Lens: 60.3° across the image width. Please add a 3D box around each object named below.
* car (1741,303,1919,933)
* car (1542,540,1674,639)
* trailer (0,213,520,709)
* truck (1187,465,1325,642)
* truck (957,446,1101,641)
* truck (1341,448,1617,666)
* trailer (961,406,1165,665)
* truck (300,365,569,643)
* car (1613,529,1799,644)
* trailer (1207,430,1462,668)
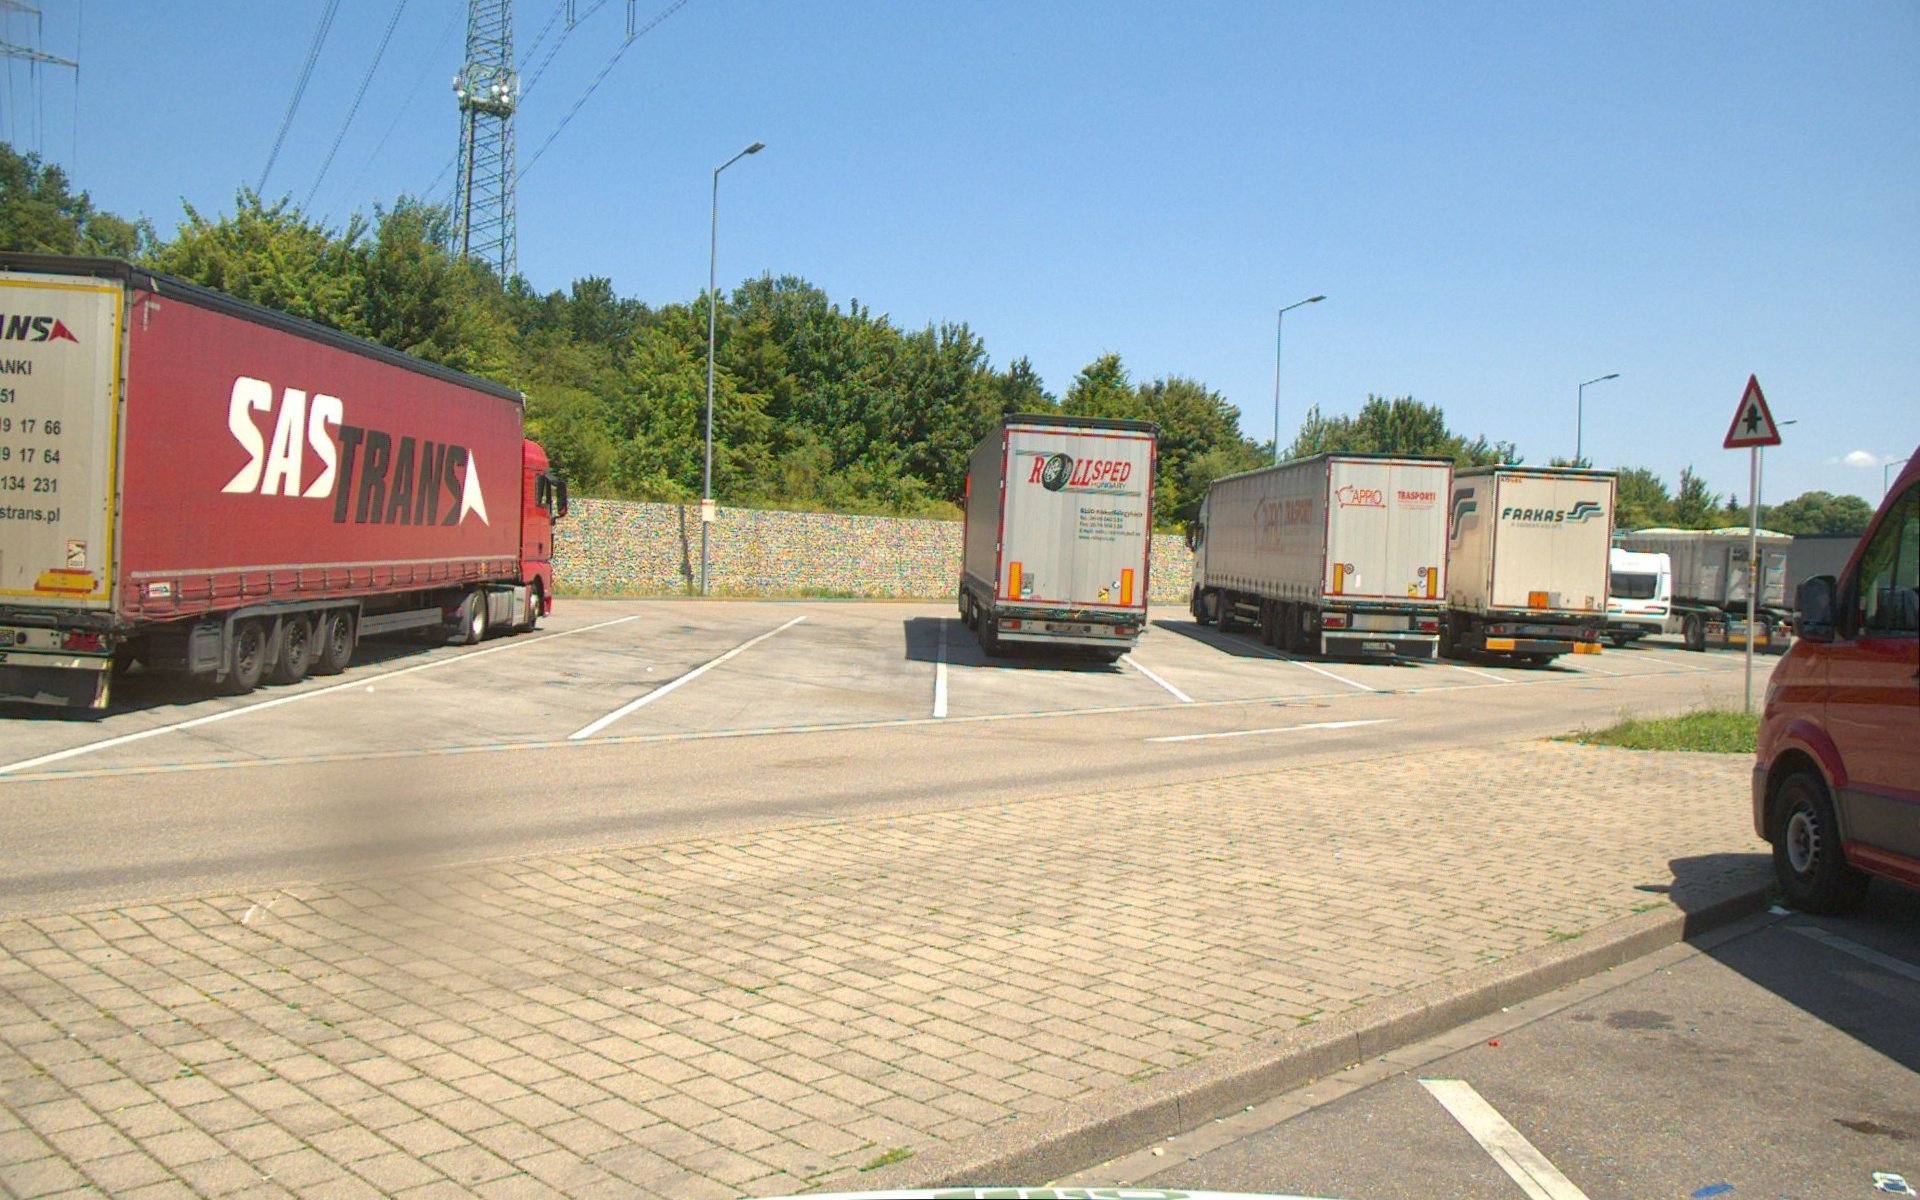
[{"bbox_3d":[4.993,0.109,5.567,1.952,2.679,6.385,1,1,3],"label":"car"},{"bbox_3d":[18.234,-0.270,46.732,2.072,2.645,3.999,1,0,-1],"label":"car"},{"bbox_3d":[-8.640,-1.339,20.981,2.743,4.293,13.200,1,1,-1],"label":"trailer"},{"bbox_3d":[8.018,-1.253,45.553,2.607,4.530,5.863,1,1,-1],"label":"truck"},{"bbox_3d":[1.445,-1.241,37.721,2.813,4.050,6.028,1,1,-2],"label":"truck"},{"bbox_3d":[11.715,-0.835,38.926,2.534,4.299,11.967,1,0,-1],"label":"truck"},{"bbox_3d":[1.644,-1.125,32.045,2.839,4.083,11.313,1,1,-2],"label":"trailer"},{"bbox_3d":[-8.727,-1.518,28.236,2.749,4.205,5.893,1,1,-1],"label":"truck"},{"bbox_3d":[21.699,-0.427,48.491,2.448,3.128,6.350,1,1,-1],"label":"car"},{"bbox_3d":[8.175,-1.097,38.262,2.627,4.530,12.826,1,1,-1],"label":"trailer"}]
